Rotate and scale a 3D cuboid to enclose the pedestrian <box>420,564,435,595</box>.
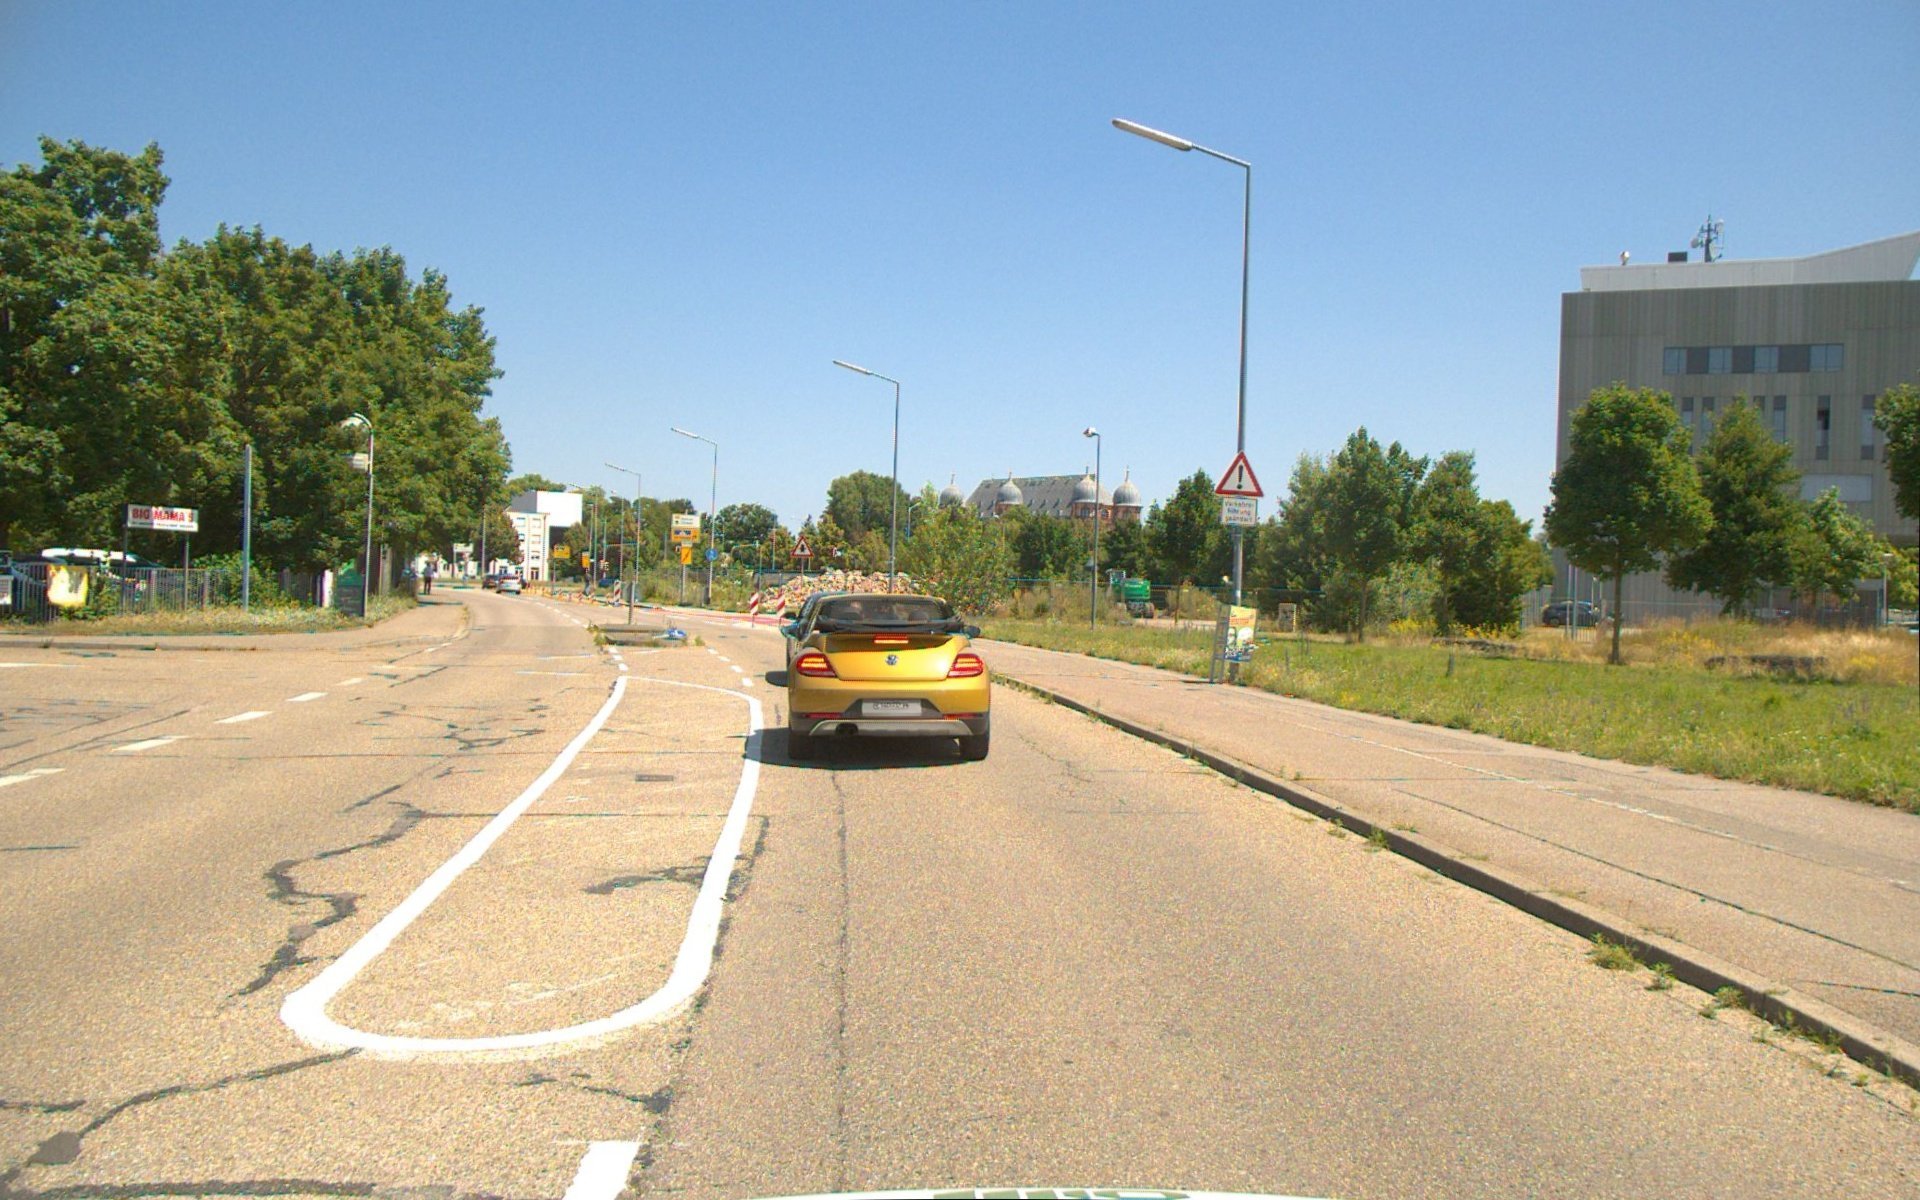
[{"bbox_3d":[-31.377,-1.213,97.426,0.712,1.755,0.812,1,0,-23],"label":"pedestrian"}]

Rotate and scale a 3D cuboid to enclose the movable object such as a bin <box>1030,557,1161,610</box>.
[{"bbox_3d":[8.950,-1.136,111.165,4.866,3.317,10.408,2,0,-20],"label":"movable object such as a bin"}]

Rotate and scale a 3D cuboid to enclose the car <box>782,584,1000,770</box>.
[{"bbox_3d":[-0.578,0.615,15.501,1.753,1.461,3.813,2,1,0],"label":"car"}]

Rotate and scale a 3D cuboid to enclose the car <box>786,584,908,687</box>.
[{"bbox_3d":[-1.887,0.513,26.594,1.694,1.468,3.994,2,0,-7],"label":"car"}]

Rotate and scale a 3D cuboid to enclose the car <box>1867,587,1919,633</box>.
[{"bbox_3d":[49.703,0.557,86.559,3.765,2.334,1.741,2,0,24],"label":"car"}]

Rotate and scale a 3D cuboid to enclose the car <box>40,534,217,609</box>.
[{"bbox_3d":[-24.031,-0.810,47.945,4.231,2.011,1.777,1,0,-13],"label":"car"}]

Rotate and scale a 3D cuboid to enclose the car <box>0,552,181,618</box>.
[{"bbox_3d":[-21.982,-0.385,41.882,3.799,1.552,1.802,1,0,-16],"label":"car"}]
